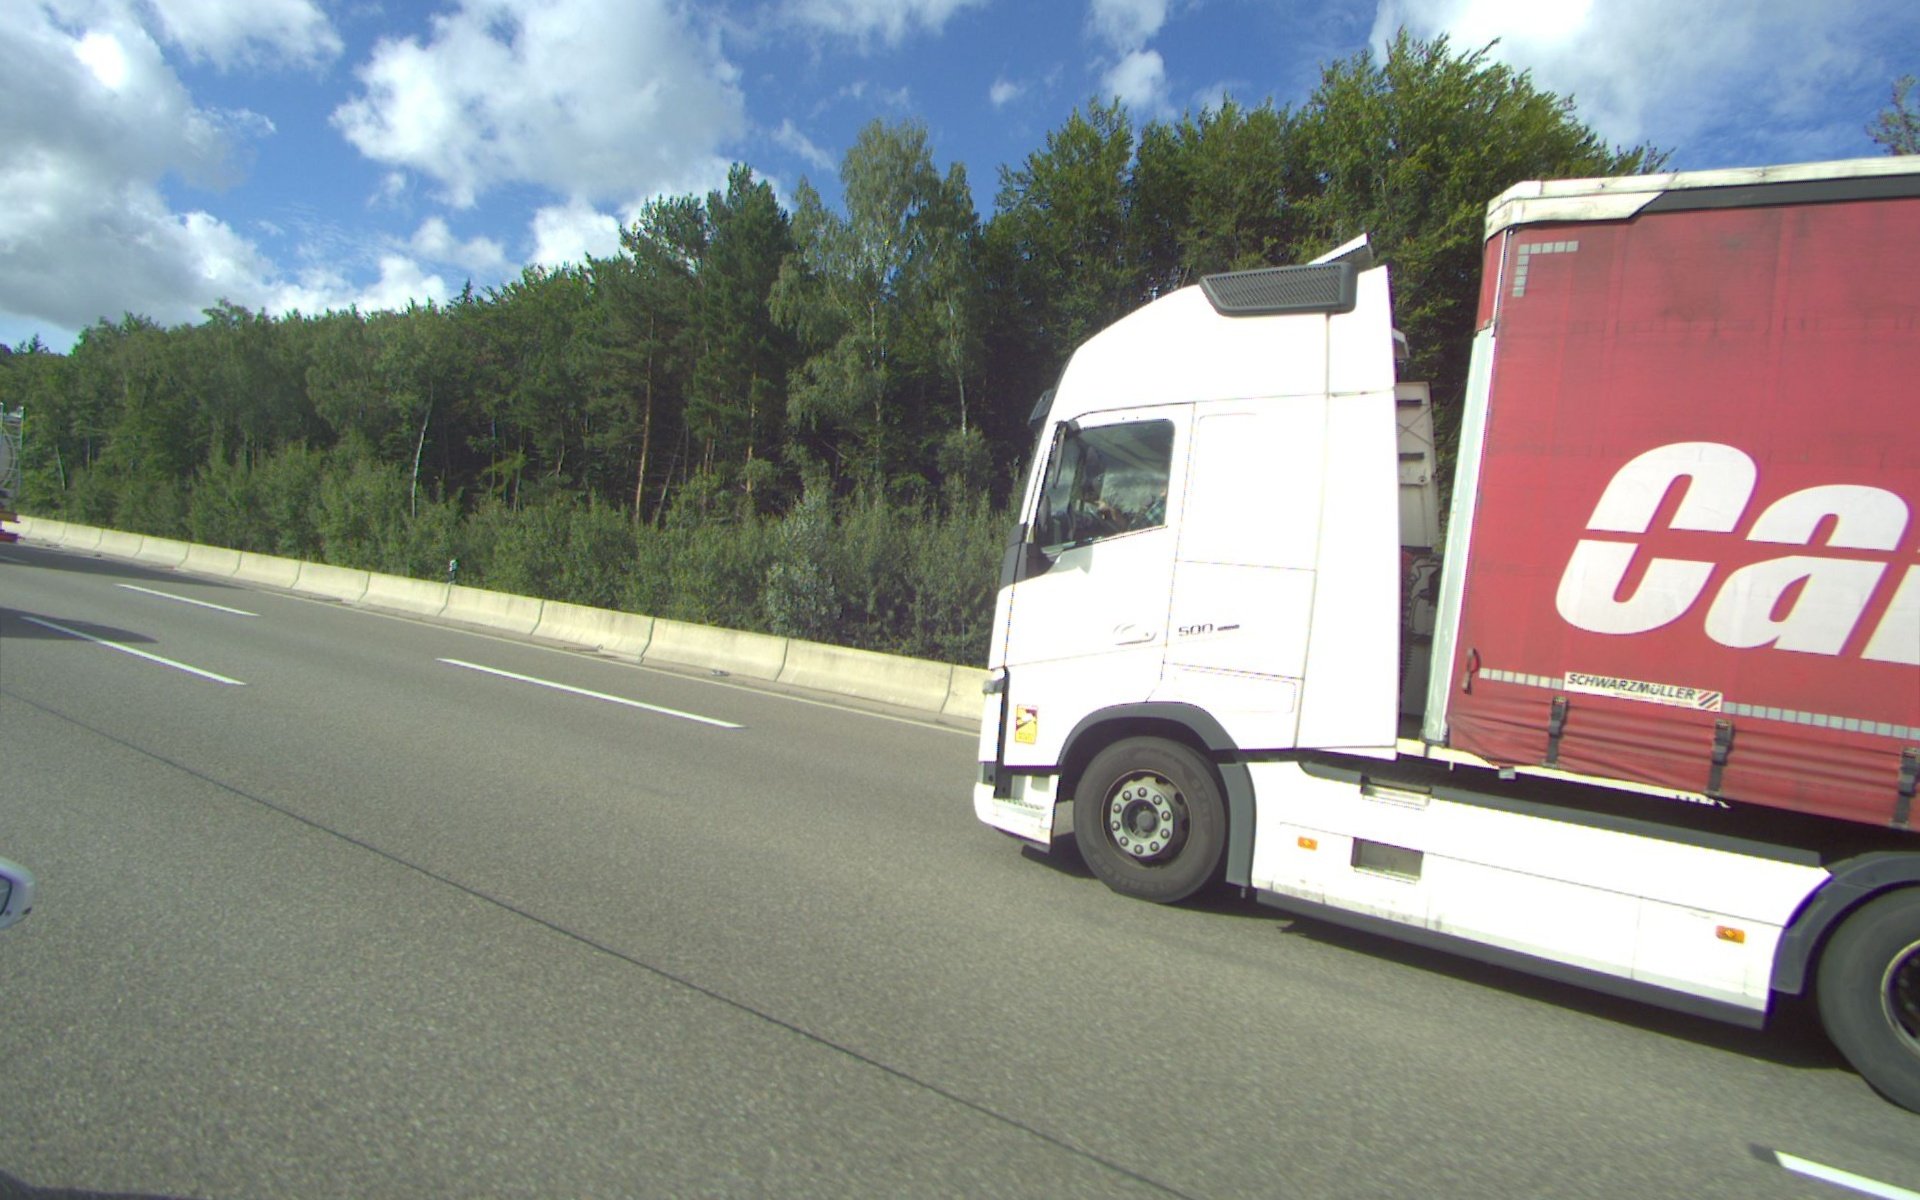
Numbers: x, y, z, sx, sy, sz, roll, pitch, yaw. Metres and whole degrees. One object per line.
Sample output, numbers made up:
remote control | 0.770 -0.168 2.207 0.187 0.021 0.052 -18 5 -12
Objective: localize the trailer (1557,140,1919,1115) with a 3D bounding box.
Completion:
trailer | 9.571 0.775 2.519 13.483 4.093 2.779 7 -1 31

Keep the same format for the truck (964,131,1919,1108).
truck | 3.386 -0.004 6.233 5.676 4.094 2.779 7 -1 31

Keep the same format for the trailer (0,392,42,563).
trailer | -27.146 -3.441 25.413 11.665 3.813 2.652 7 0 32
